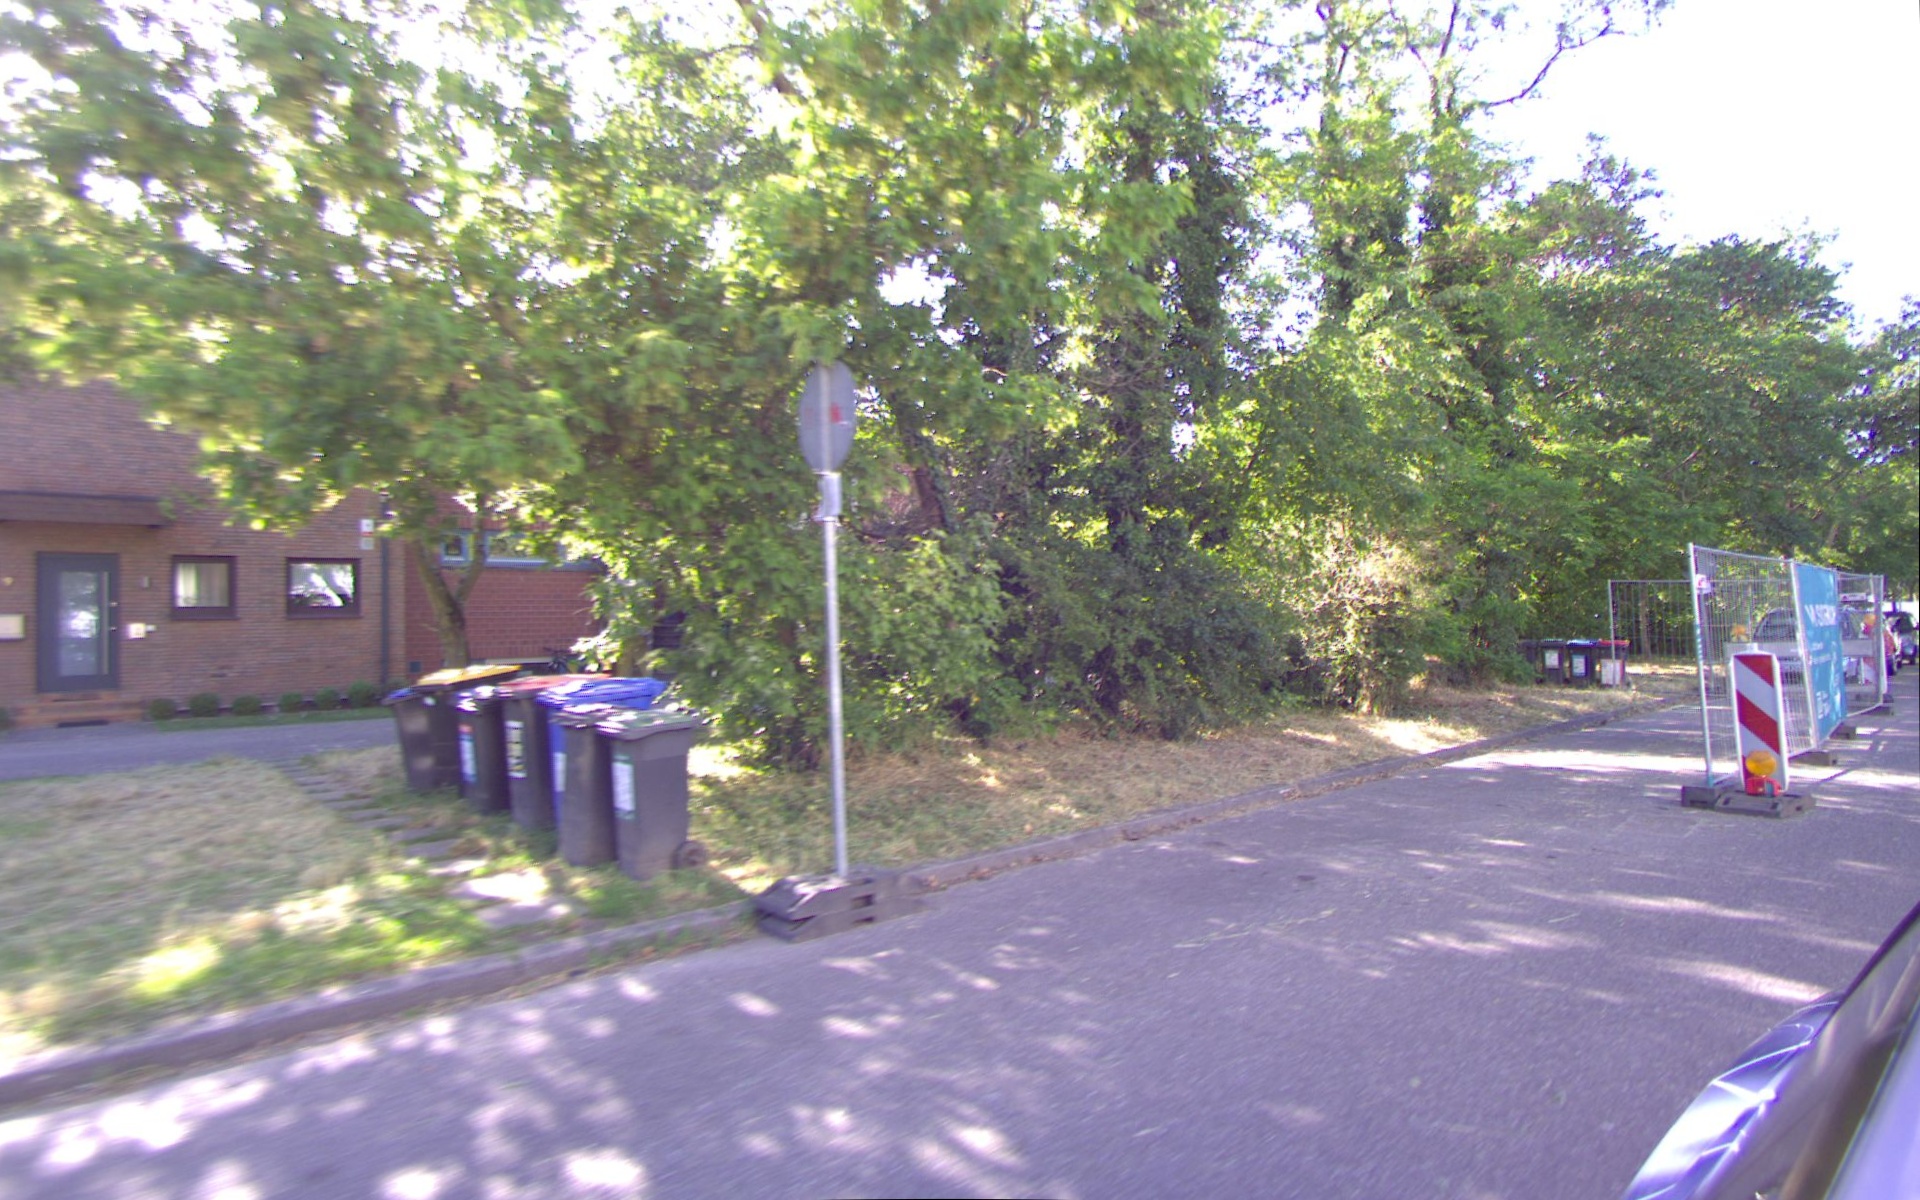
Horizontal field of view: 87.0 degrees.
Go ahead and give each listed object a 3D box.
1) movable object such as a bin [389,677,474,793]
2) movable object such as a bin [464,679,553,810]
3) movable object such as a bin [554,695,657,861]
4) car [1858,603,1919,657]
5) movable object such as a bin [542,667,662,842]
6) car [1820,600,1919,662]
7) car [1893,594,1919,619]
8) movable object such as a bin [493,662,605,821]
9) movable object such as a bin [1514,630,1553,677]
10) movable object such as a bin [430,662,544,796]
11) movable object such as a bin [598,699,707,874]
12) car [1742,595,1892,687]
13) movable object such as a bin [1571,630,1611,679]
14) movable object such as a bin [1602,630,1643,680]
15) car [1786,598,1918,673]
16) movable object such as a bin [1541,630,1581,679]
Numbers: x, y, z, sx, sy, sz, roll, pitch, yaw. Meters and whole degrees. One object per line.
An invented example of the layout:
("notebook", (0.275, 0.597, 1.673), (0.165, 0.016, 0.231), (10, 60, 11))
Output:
("movable object such as a bin", (-4.500, 1.130, 8.624), (0.424, 0.893, 0.518), (0, 0, 38))
("movable object such as a bin", (-3.387, 1.063, 7.593), (0.515, 0.881, 0.419), (0, 0, -40))
("movable object such as a bin", (-2.134, 1.044, 6.093), (0.476, 0.881, 0.413), (0, 0, -40))
("car", (27.730, 0.868, 29.763), (2.628, 1.529, 1.496), (0, -3, -39))
("movable object such as a bin", (-2.336, 0.976, 6.606), (0.597, 1.012, 0.519), (0, 0, -40))
("car", (24.377, 0.803, 27.014), (4.081, 1.529, 1.712), (0, -3, -44))
("car", (78.499, 0.533, 81.135), (1.966, 2.030, 5.261), (1, -1, -42))
("movable object such as a bin", (-2.933, 0.973, 7.216), (0.597, 1.012, 0.563), (0, 0, -40))
("movable object such as a bin", (10.949, 1.013, 19.330), (0.550, 0.872, 0.484), (1, -3, -44))
("movable object such as a bin", (-3.803, 1.006, 8.130), (0.683, 0.940, 0.695), (0, 0, -40))
("movable object such as a bin", (-1.757, 1.038, 5.785), (0.476, 0.881, 0.413), (0, 0, -40))
("car", (17.092, 0.775, 20.127), (4.066, 1.643, 1.680), (0, -3, -42))
("movable object such as a bin", (11.576, 0.986, 18.562), (0.550, 0.872, 0.484), (1, -3, -44))
("movable object such as a bin", (11.914, 0.990, 18.206), (0.550, 0.872, 0.484), (1, -3, -44))
("car", (20.888, 0.800, 23.657), (3.994, 1.594, 1.681), (0, -3, -40))
("movable object such as a bin", (11.240, 1.014, 18.926), (0.550, 0.872, 0.484), (1, -3, -44))
